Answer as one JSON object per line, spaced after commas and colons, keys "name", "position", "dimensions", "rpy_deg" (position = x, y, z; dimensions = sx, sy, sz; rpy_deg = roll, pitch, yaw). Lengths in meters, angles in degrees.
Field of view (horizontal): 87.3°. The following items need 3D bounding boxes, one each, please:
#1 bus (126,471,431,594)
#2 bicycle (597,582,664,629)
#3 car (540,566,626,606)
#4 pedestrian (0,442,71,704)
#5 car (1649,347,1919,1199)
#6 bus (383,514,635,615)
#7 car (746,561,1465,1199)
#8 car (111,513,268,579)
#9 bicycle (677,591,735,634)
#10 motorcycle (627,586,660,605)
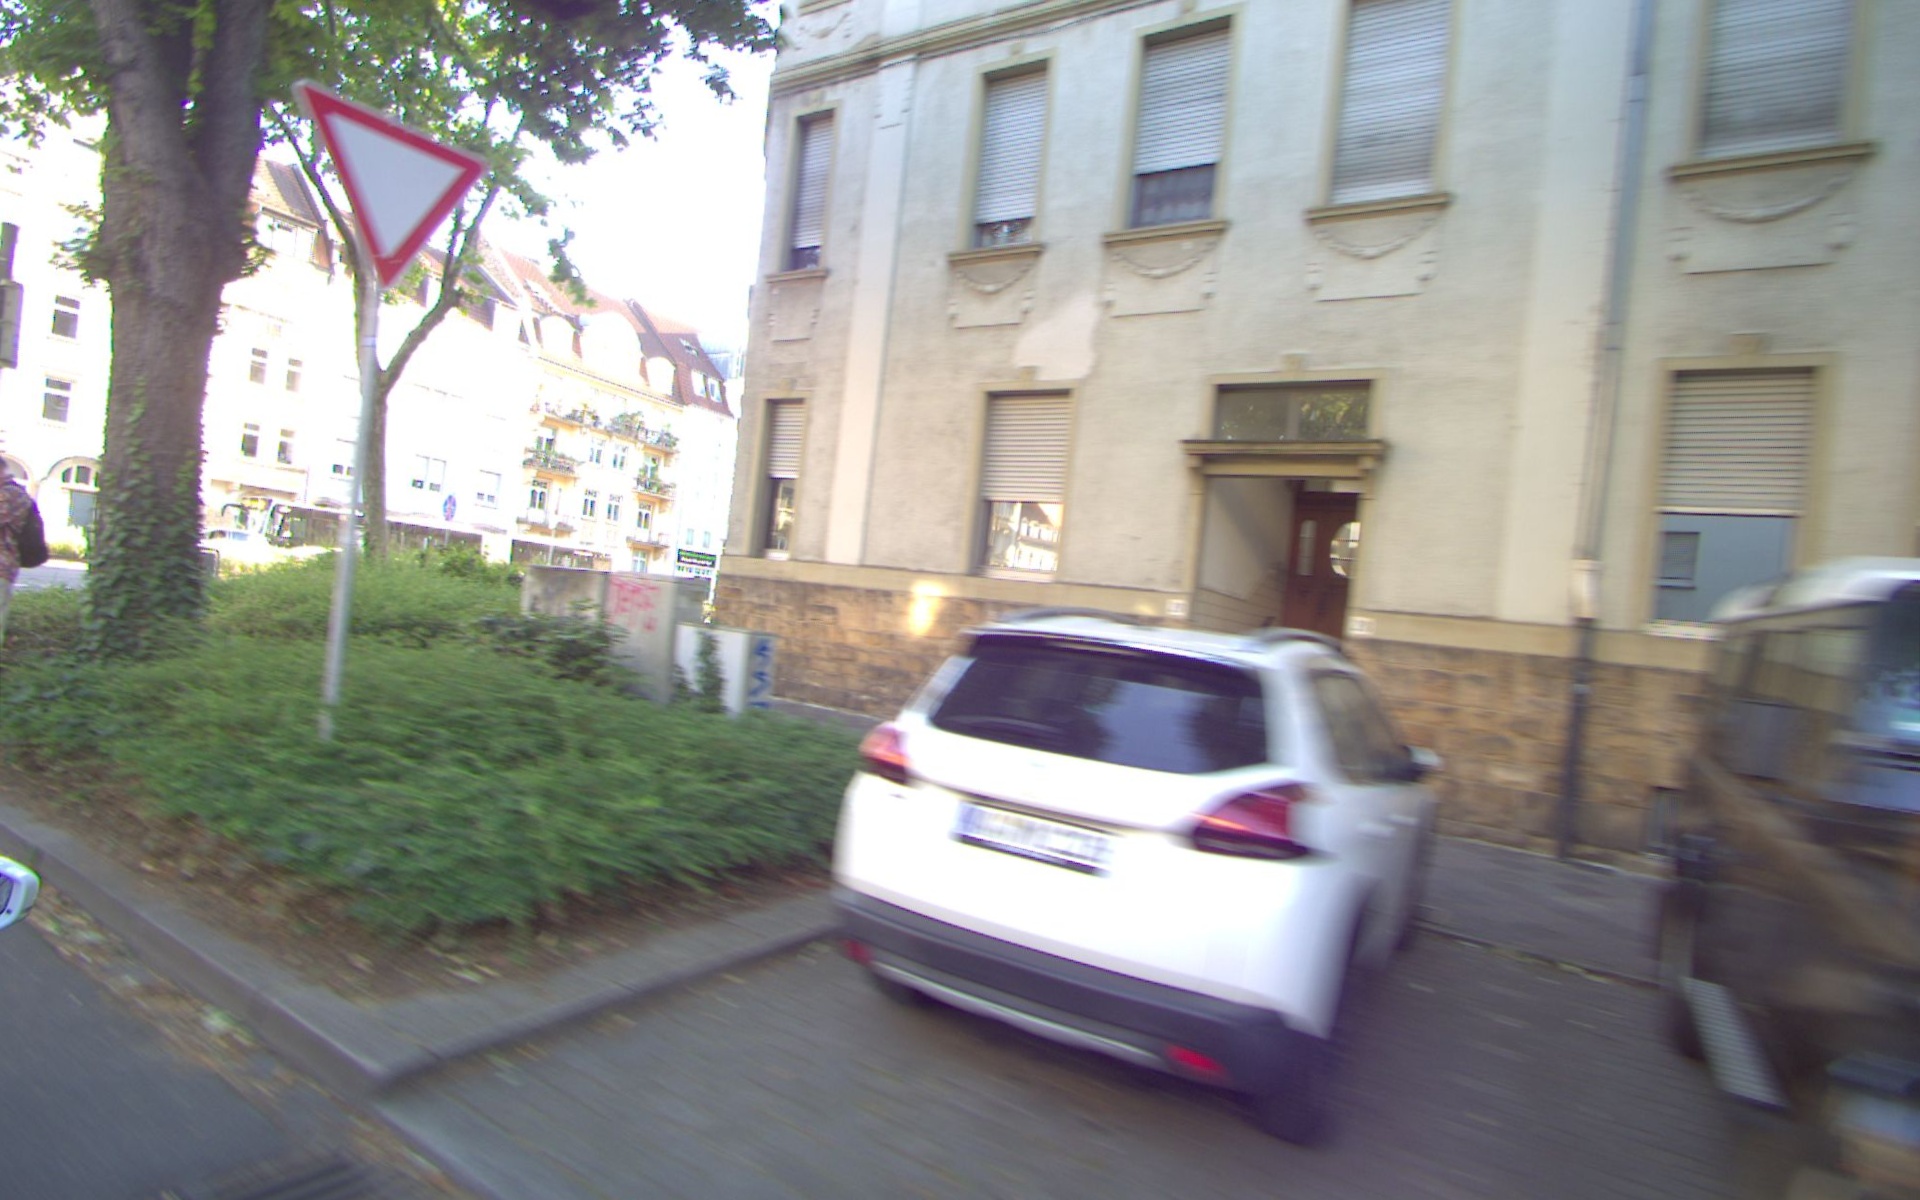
{"name": "bus", "position": [-27.992, -2.621, 42.083], "dimensions": [3.221, 3.412, 9.889], "rpy_deg": [6, -2, 30]}
{"name": "bicycle", "position": [-8.764, 0.166, 26.848], "dimensions": [0.364, 1.081, 1.872], "rpy_deg": [6, -1, 29]}
{"name": "car", "position": [-23.117, -0.808, 61.855], "dimensions": [1.878, 1.807, 4.648], "rpy_deg": [6, -2, 31]}
{"name": "pedestrian", "position": [-7.039, -0.218, 7.222], "dimensions": [0.656, 1.827, 0.700], "rpy_deg": [6, -1, 37]}
{"name": "car", "position": [3.174, 0.815, 2.808], "dimensions": [1.731, 2.008, 4.426], "rpy_deg": [3, -2, 32]}
{"name": "bus", "position": [-22.571, -1.619, 51.575], "dimensions": [3.210, 3.412, 11.966], "rpy_deg": [6, -3, 30]}
{"name": "car", "position": [1.120, 0.897, 4.494], "dimensions": [1.656, 1.595, 4.042], "rpy_deg": [7, 0, 30]}
{"name": "car", "position": [-27.760, -1.902, 36.376], "dimensions": [1.905, 1.703, 3.994], "rpy_deg": [6, -2, 32]}
{"name": "bicycle", "position": [-7.448, 0.381, 29.619], "dimensions": [0.430, 1.111, 1.931], "rpy_deg": [6, -1, 25]}
{"name": "motorcycle", "position": [-22.313, -0.303, 70.872], "dimensions": [0.520, 1.033, 2.418], "rpy_deg": [9, 0, 28]}
